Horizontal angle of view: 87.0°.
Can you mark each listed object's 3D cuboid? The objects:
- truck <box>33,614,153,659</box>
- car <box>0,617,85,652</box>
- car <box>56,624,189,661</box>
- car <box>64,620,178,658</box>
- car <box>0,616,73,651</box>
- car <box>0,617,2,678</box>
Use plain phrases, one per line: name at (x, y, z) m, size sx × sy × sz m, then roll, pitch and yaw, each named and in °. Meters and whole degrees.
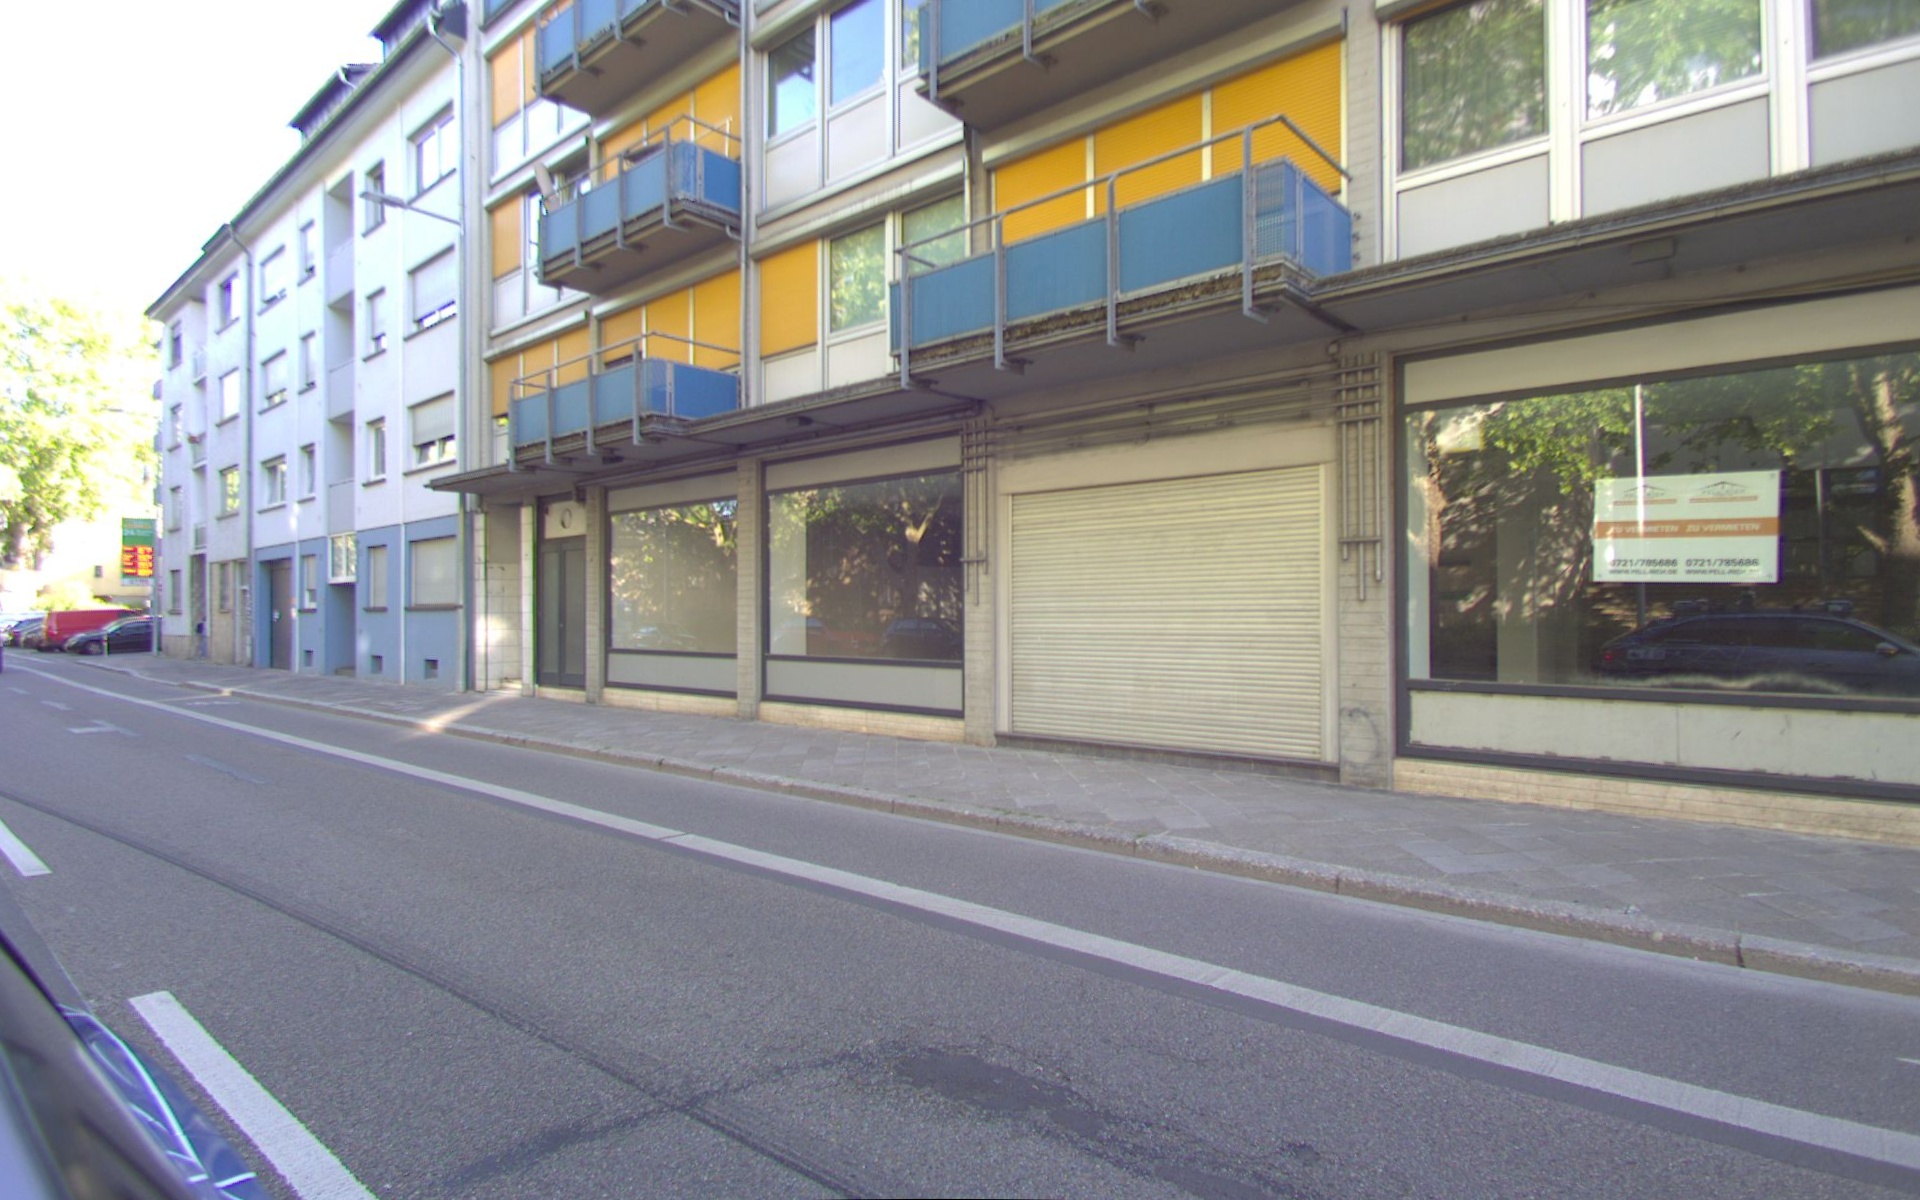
truck at (-40.706, 1.657, 47.563) m, size 1.999 × 1.939 × 4.040 m, roll -1°, pitch 0°, yaw 40°
car at (-56.040, 2.077, 61.457) m, size 2.000 × 1.971 × 4.180 m, roll -1°, pitch 0°, yaw 43°
car at (-36.476, 1.802, 44.145) m, size 1.657 × 1.417 × 4.269 m, roll -1°, pitch 0°, yaw 40°
car at (-38.026, 1.739, 45.928) m, size 1.657 × 1.583 × 3.762 m, roll -1°, pitch 0°, yaw 41°
car at (-59.324, 2.107, 64.387) m, size 2.000 × 2.052 × 4.180 m, roll -1°, pitch 0°, yaw 43°
car at (-28.906, 1.340, 28.948) m, size 3.998 × 1.690 × 1.823 m, roll -1°, pitch -1°, yaw 41°
